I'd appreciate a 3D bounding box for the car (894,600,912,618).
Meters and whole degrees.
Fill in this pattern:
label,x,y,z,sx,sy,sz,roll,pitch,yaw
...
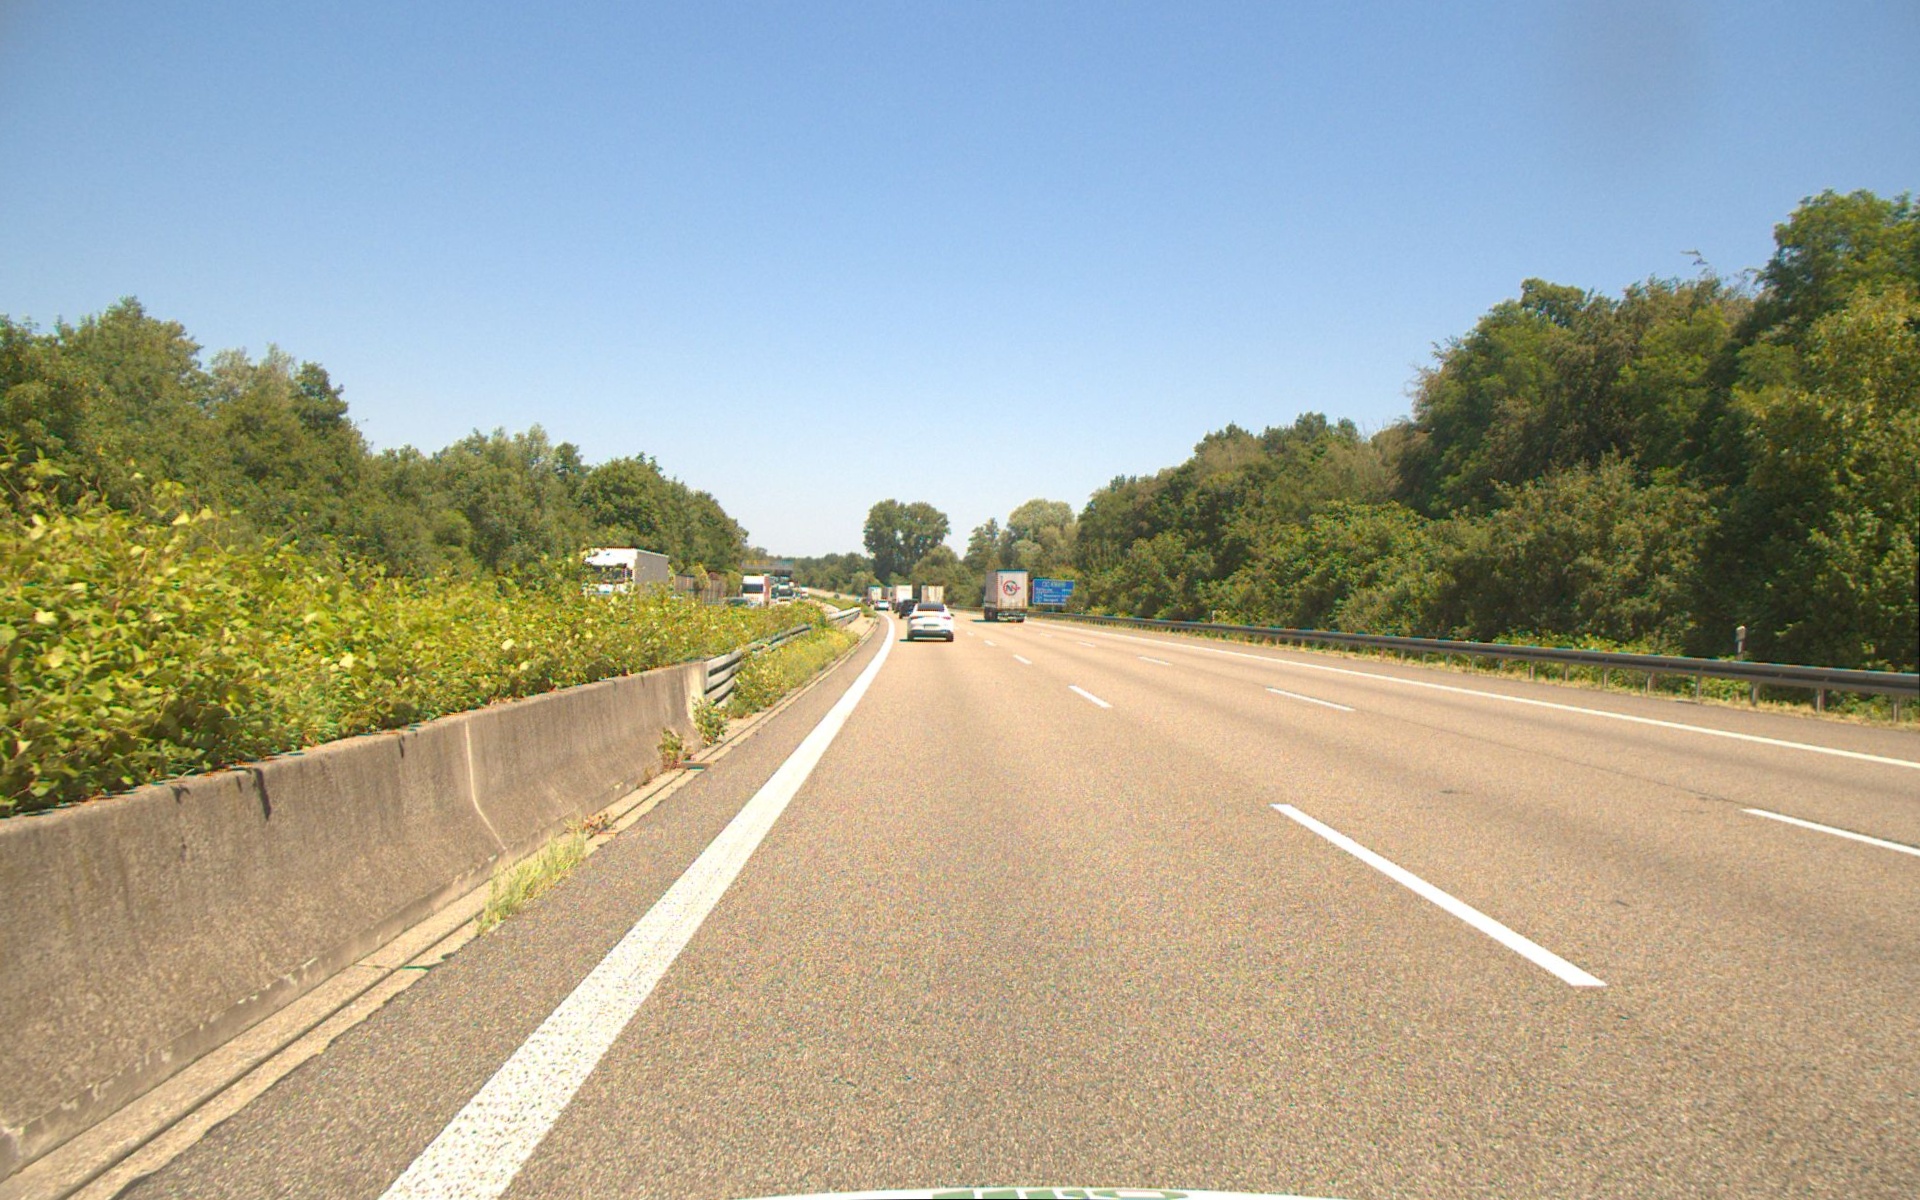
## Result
label,x,y,z,sx,sy,sz,roll,pitch,yaw
car,-7.114,1.116,206.376,1.955,2.049,3.996,1,0,-5

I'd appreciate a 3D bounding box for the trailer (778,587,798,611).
label,x,y,z,sx,sy,sz,roll,pitch,yaw
trailer,-19.503,-0.139,187.350,2.044,2.659,4.952,1,0,-4

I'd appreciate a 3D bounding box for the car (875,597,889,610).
label,x,y,z,sx,sy,sz,roll,pitch,yaw
car,-11.912,0.514,252.514,1.691,1.814,3.993,1,0,-8

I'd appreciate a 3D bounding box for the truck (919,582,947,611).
label,x,y,z,sx,sy,sz,roll,pitch,yaw
truck,-4.334,-0.530,261.549,3.425,4.386,10.974,1,0,-6

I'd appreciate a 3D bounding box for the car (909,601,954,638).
label,x,y,z,sx,sy,sz,roll,pitch,yaw
car,-1.111,0.743,64.493,1.680,1.393,3.374,1,0,-1

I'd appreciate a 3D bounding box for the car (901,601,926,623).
label,x,y,z,sx,sy,sz,roll,pitch,yaw
car,-4.080,1.047,144.771,1.954,1.803,3.996,1,0,-5

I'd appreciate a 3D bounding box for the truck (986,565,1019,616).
label,x,y,z,sx,sy,sz,roll,pitch,yaw
truck,3.697,-0.827,145.087,2.553,4.362,5.433,1,0,-2

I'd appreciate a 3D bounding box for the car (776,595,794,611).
label,x,y,z,sx,sy,sz,roll,pitch,yaw
car,-19.339,0.349,182.825,1.799,1.660,4.016,1,0,-3

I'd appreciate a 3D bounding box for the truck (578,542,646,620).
label,x,y,z,sx,sy,sz,roll,pitch,yaw
truck,-18.995,-1.006,90.607,2.607,4.054,6.550,1,0,-3

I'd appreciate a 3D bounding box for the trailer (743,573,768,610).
label,x,y,z,sx,sy,sz,roll,pitch,yaw
trailer,-23.804,-0.990,192.746,2.636,4.112,6.031,1,0,-5

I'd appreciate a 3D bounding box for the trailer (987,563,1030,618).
label,x,y,z,sx,sy,sz,roll,pitch,yaw
trailer,3.978,-0.767,137.933,2.571,4.335,14.054,1,0,-2
